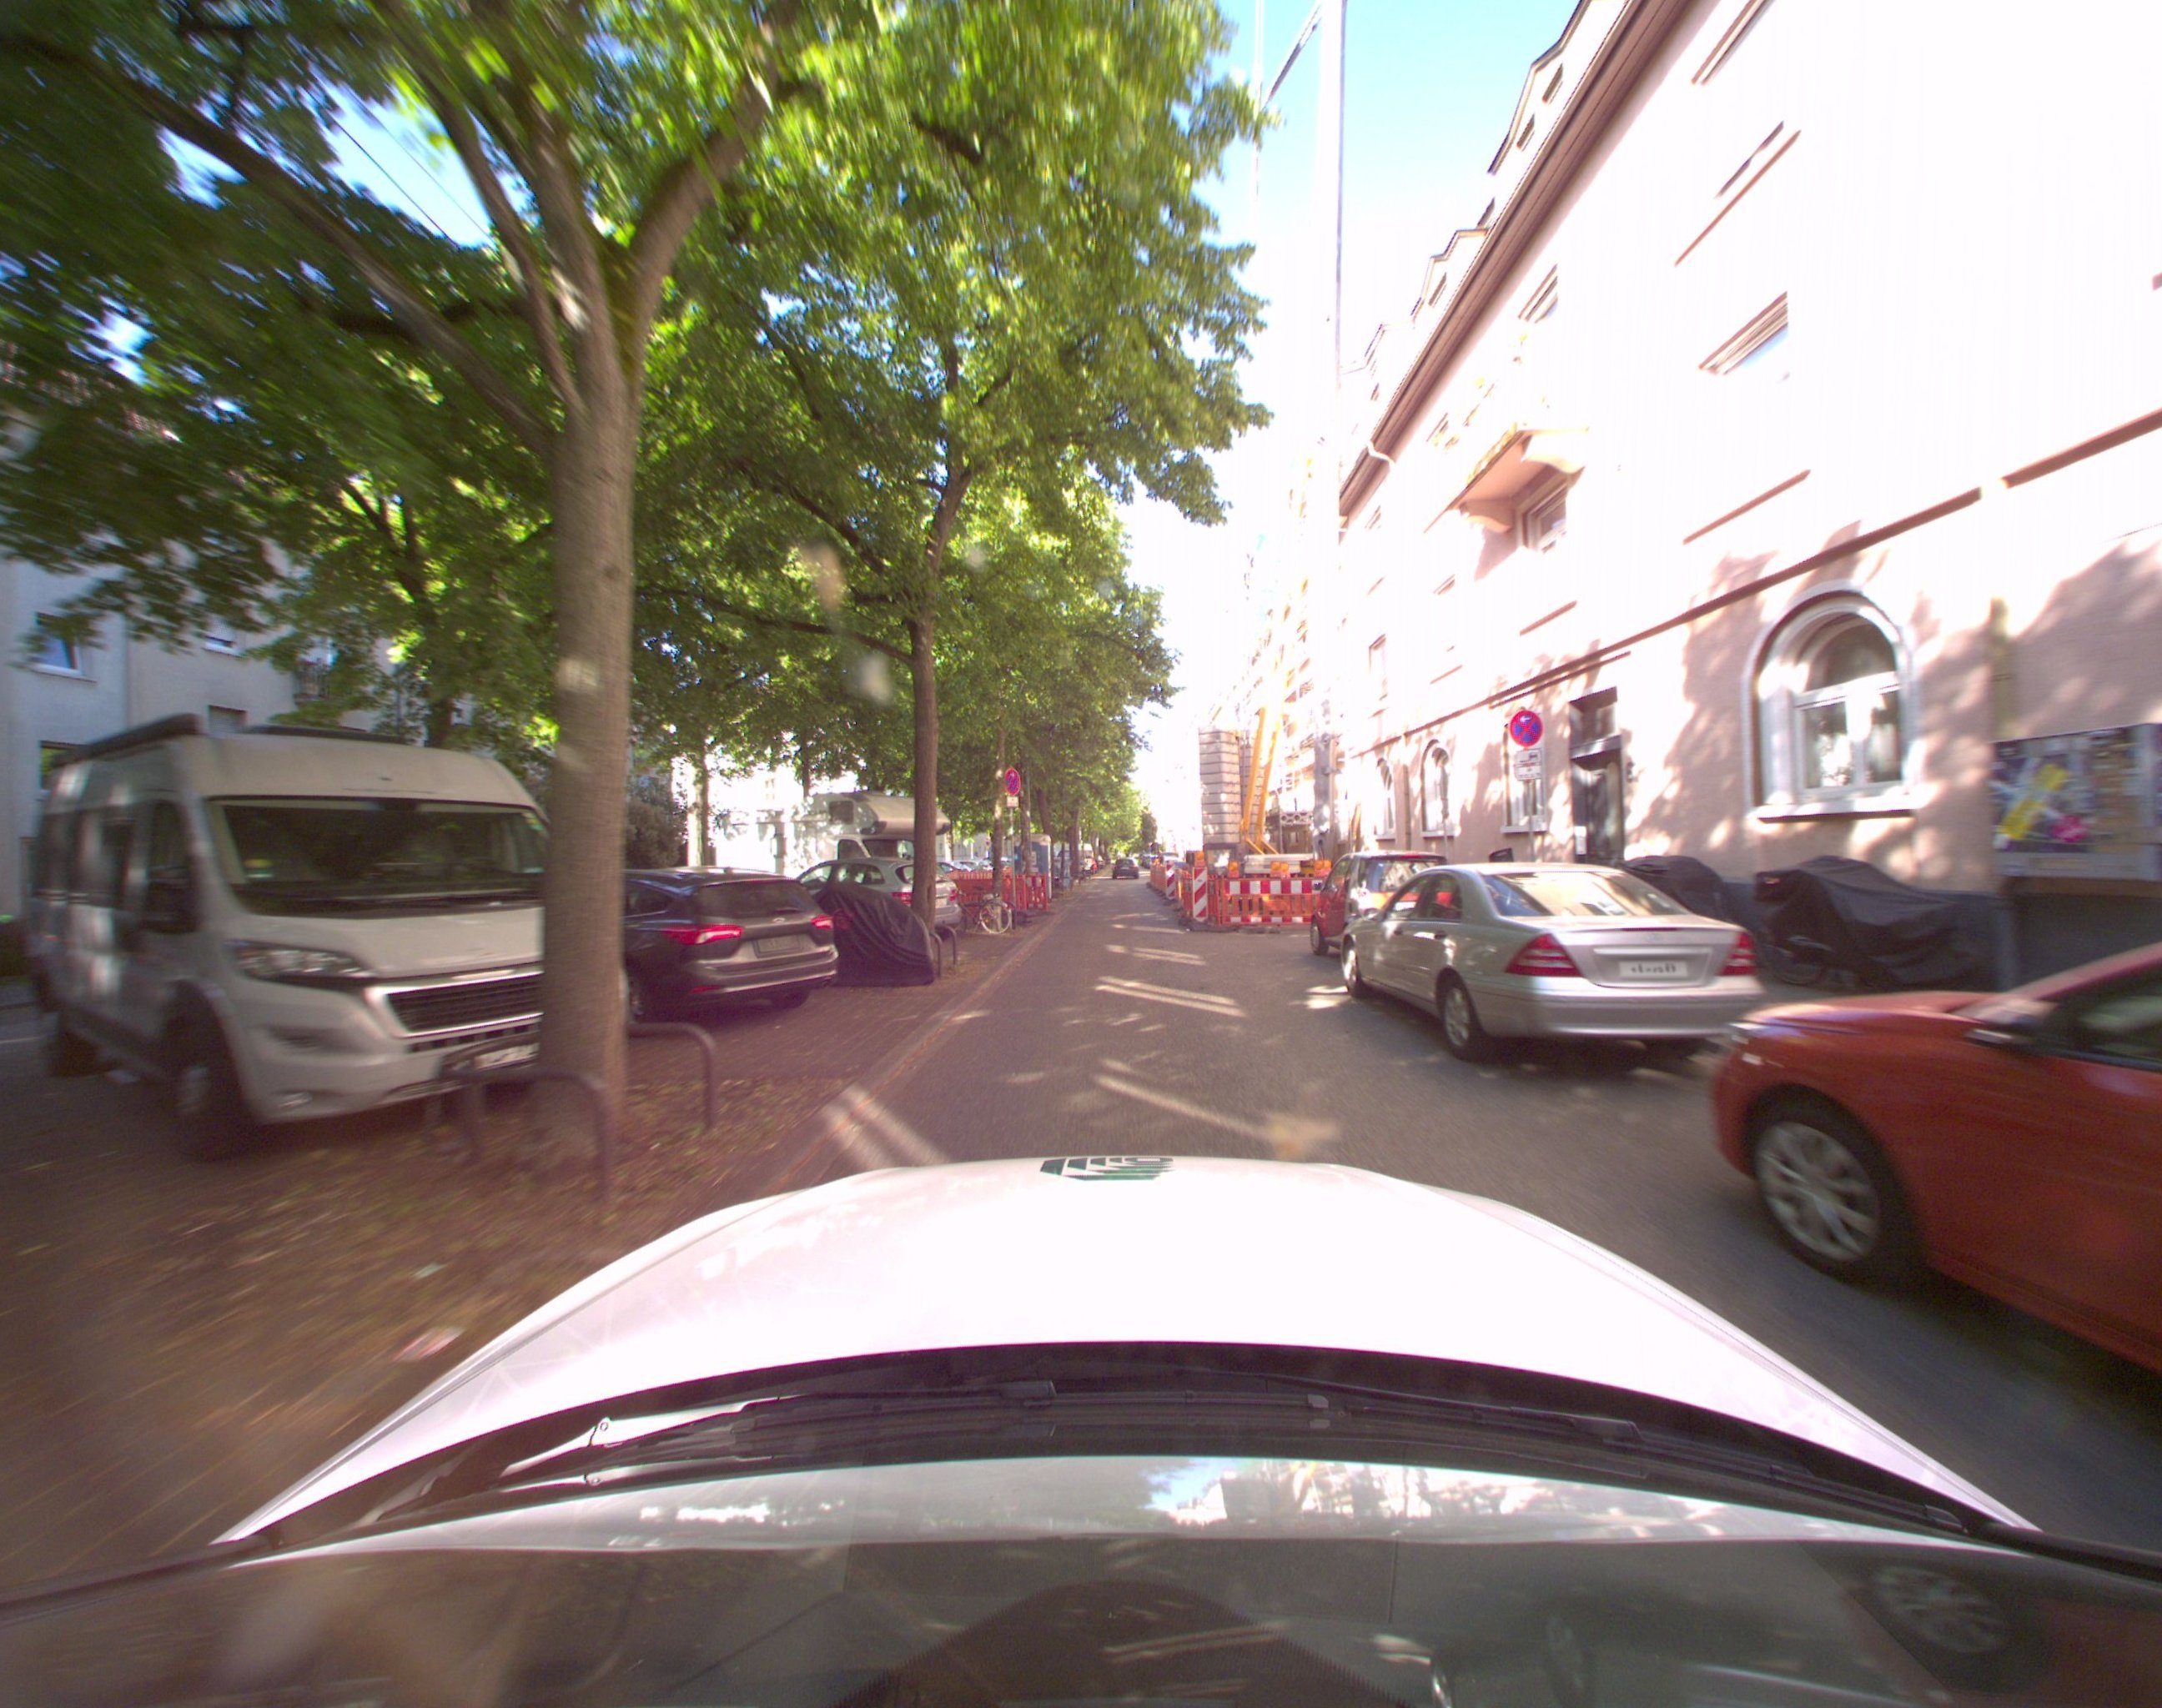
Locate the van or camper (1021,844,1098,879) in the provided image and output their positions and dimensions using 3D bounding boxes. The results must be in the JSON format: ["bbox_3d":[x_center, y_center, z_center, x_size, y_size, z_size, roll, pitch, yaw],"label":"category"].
[{"bbox_3d":[-1.631,0.557,60.968,5.280,2.474,2.308,-2,0,35],"label":"van or camper"}]

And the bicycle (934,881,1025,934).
[{"bbox_3d":[-2.073,1.076,16.521,1.879,1.006,0.433,-2,-1,26],"label":"bicycle"}]

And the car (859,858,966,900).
[{"bbox_3d":[-6.951,1.036,33.563,3.948,1.607,2.013,-2,0,30],"label":"car"}]

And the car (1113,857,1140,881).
[{"bbox_3d":[3.112,1.008,56.341,1.790,1.503,3.587,-2,0,2],"label":"car"}]

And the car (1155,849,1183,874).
[{"bbox_3d":[6.633,0.564,61.706,1.790,1.800,3.587,-2,0,2],"label":"car"}]

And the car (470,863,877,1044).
[{"bbox_3d":[-4.215,0.858,8.323,3.915,1.414,1.834,-2,0,30],"label":"car"}]

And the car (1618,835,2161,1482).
[{"bbox_3d":[3.443,0.707,1.815,1.786,1.523,3.961,-1,0,-2],"label":"car"}]

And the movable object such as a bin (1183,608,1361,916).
[{"bbox_3d":[4.634,-1.996,19.821,3.445,6.759,2.383,-1,-1,35],"label":"movable object such as a bin"}]

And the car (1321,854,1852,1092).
[{"bbox_3d":[3.714,0.723,7.174,1.986,1.409,4.503,-1,0,2],"label":"car"}]

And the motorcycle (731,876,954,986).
[{"bbox_3d":[-2.935,0.939,10.098,2.534,1.258,0.765,-2,0,10],"label":"motorcycle"}]

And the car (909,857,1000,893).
[{"bbox_3d":[-6.171,1.011,39.784,3.948,1.607,2.013,-2,0,30],"label":"car"}]

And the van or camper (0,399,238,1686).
[{"bbox_3d":[-4.733,0.416,1.904,5.447,2.275,2.234,-2,0,26],"label":"van or camper"}]

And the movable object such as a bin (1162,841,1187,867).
[{"bbox_3d":[8.477,0.024,74.077,1.790,2.233,4.608,-2,0,2],"label":"movable object such as a bin"}]

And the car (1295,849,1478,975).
[{"bbox_3d":[4.142,0.713,11.467,1.586,1.531,2.781,-1,0,2],"label":"car"}]

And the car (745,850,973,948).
[{"bbox_3d":[-4.197,0.804,15.360,3.915,1.629,1.834,-2,0,28],"label":"car"}]

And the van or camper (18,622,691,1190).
[{"bbox_3d":[-5.838,0.304,6.275,5.811,2.637,2.269,-2,0,32],"label":"van or camper"}]

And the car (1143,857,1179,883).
[{"bbox_3d":[4.621,0.887,47.397,1.790,1.385,3.587,-2,0,2],"label":"car"}]

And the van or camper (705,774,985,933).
[{"bbox_3d":[-5.730,0.072,19.398,6.592,3.241,2.511,-2,0,31],"label":"van or camper"}]

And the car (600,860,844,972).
[{"bbox_3d":[-5.757,0.887,12.899,3.914,1.474,1.835,-2,0,37],"label":"car"}]

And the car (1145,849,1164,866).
[{"bbox_3d":[7.905,0.364,87.928,1.790,1.800,3.587,-2,0,2],"label":"car"}]

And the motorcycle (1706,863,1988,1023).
[{"bbox_3d":[6.598,0.694,7.173,0.547,1.193,1.831,-2,0,-9],"label":"motorcycle"}]
